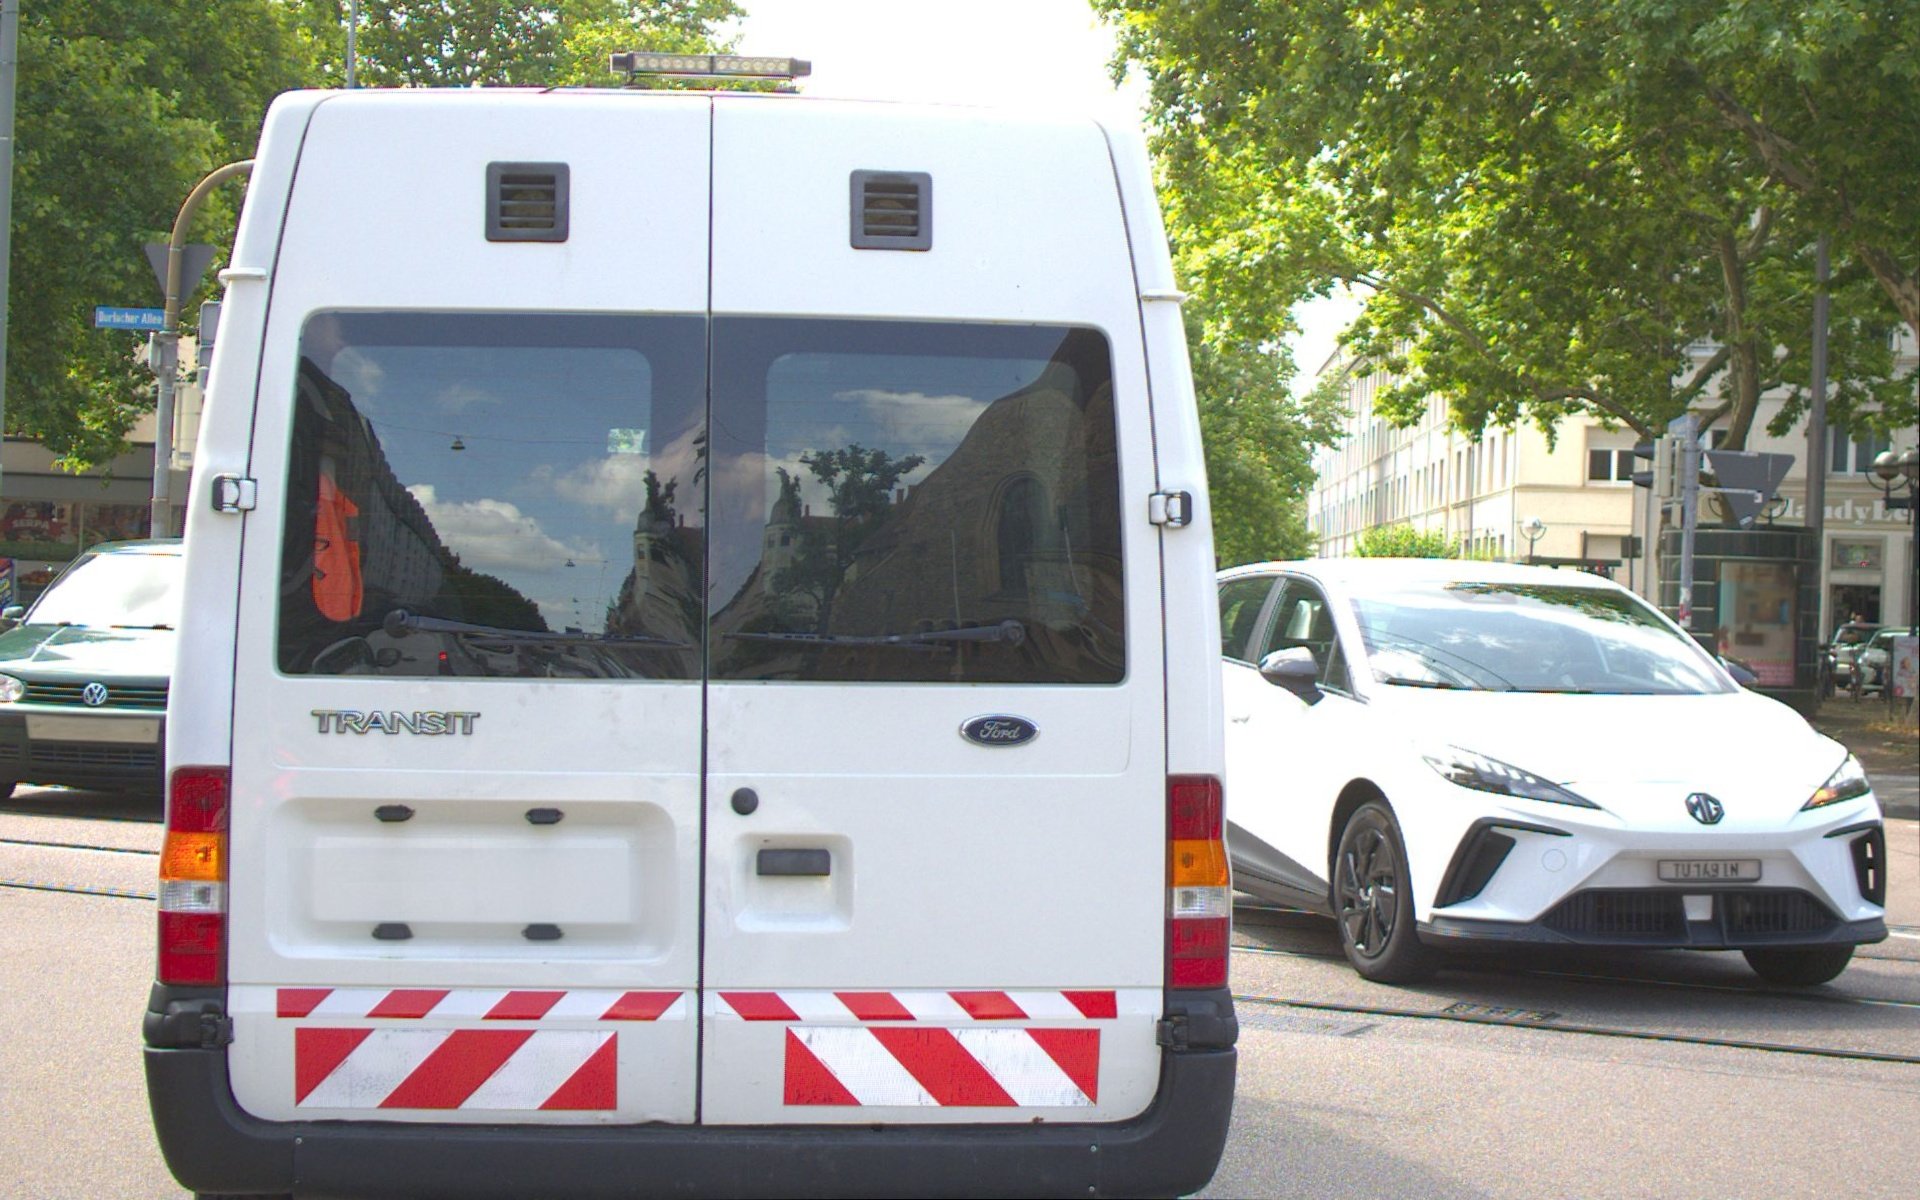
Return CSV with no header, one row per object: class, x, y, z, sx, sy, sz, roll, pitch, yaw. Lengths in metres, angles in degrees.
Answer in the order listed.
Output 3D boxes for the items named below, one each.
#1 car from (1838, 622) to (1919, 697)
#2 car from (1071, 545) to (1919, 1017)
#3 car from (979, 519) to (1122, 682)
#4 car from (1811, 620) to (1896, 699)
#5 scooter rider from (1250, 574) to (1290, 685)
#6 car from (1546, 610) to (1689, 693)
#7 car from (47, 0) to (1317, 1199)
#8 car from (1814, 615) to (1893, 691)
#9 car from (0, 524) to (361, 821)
car,18.300,1.176,68.329,1.466,1.384,3.233,2,0,17
car,1.931,0.580,13.279,1.814,1.501,4.132,2,1,-15
car,1.522,-0.024,60.145,2.119,2.632,6.328,2,1,-1
car,16.859,1.115,64.826,1.466,1.384,3.065,2,0,15
scooter rider,5.120,0.478,56.784,0.526,1.806,0.649,2,0,-1
car,13.656,1.067,71.218,2.030,1.595,4.533,2,0,22
car,-0.679,0.160,8.094,2.047,2.325,4.715,2,1,-5
car,20.810,1.232,80.006,1.467,1.660,3.064,2,0,20
car,-4.439,0.330,19.182,1.713,1.428,3.819,2,1,-4
